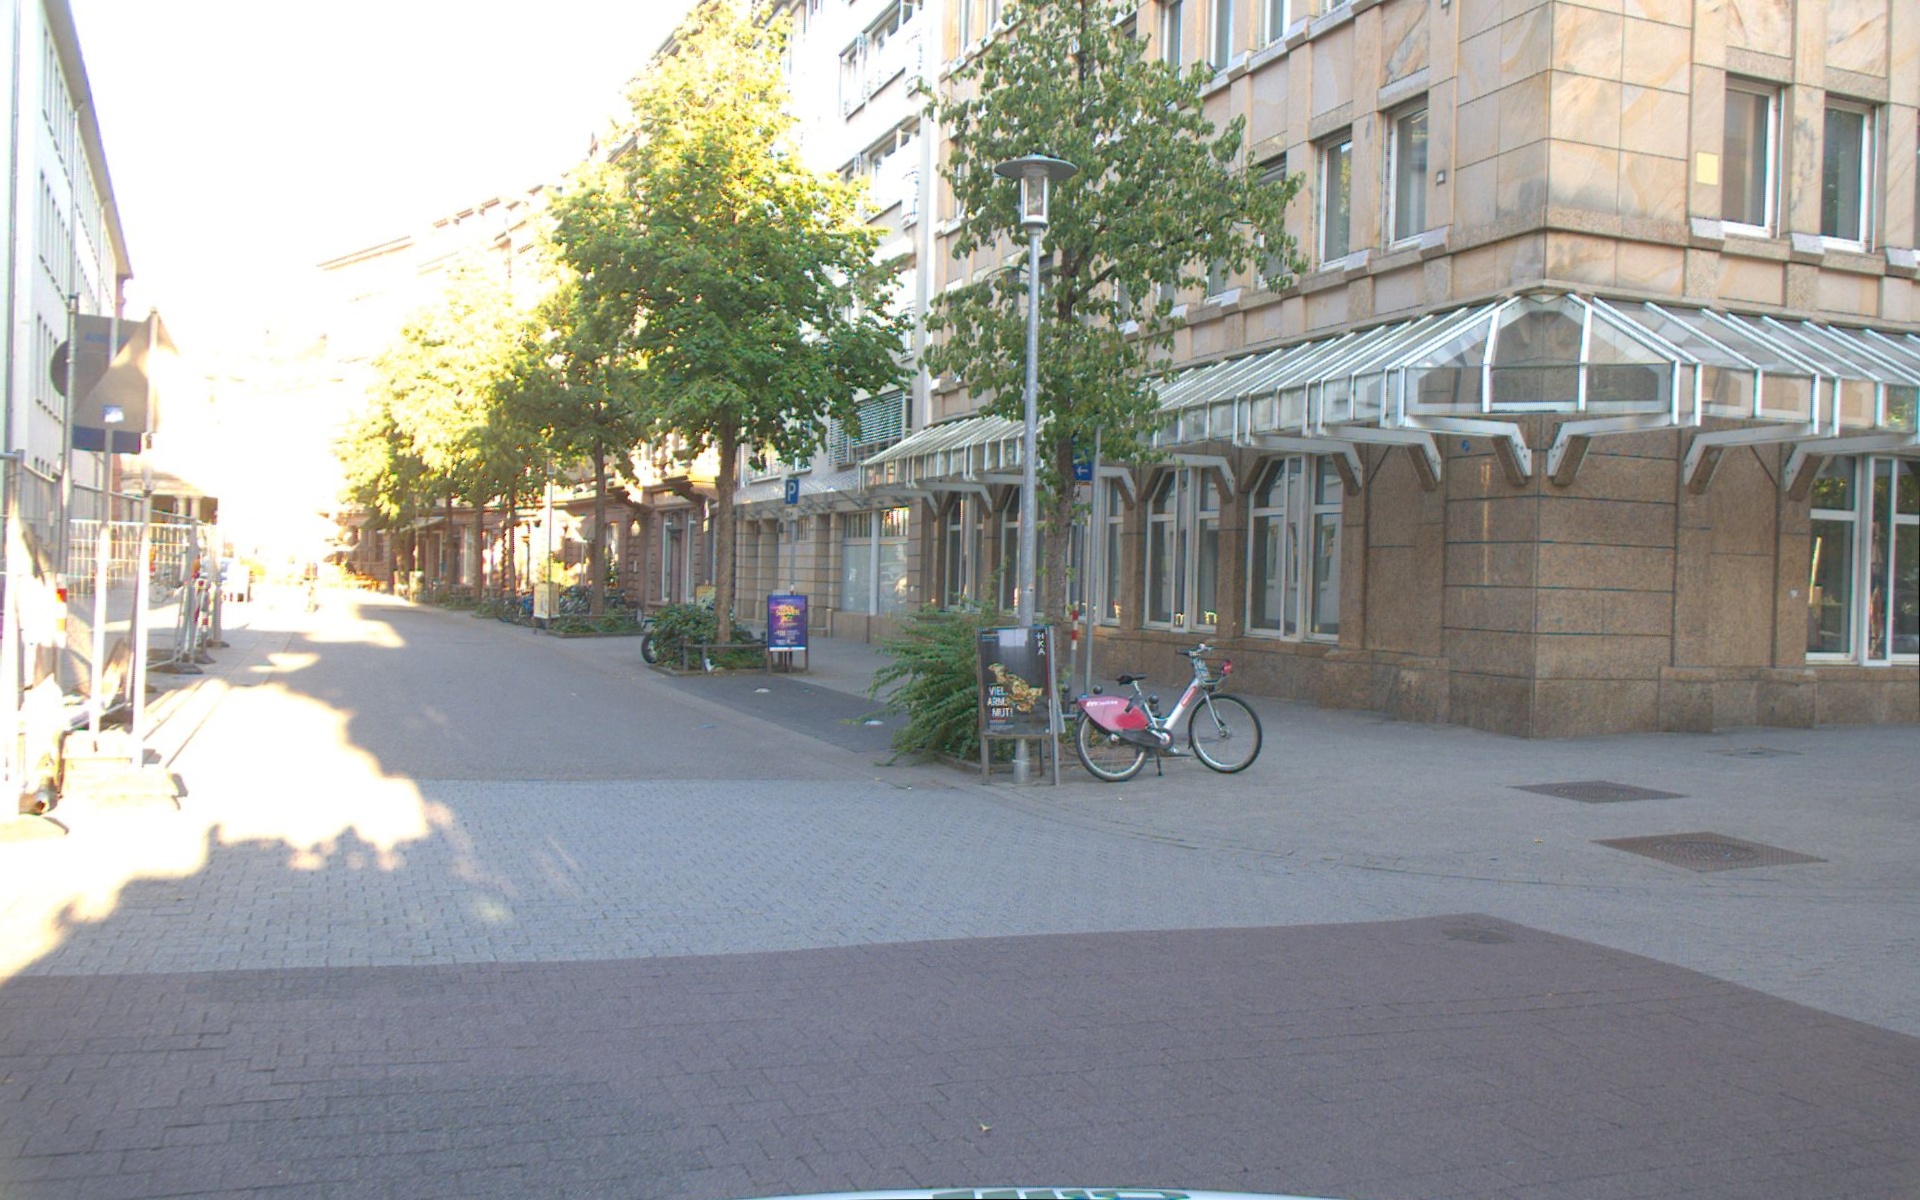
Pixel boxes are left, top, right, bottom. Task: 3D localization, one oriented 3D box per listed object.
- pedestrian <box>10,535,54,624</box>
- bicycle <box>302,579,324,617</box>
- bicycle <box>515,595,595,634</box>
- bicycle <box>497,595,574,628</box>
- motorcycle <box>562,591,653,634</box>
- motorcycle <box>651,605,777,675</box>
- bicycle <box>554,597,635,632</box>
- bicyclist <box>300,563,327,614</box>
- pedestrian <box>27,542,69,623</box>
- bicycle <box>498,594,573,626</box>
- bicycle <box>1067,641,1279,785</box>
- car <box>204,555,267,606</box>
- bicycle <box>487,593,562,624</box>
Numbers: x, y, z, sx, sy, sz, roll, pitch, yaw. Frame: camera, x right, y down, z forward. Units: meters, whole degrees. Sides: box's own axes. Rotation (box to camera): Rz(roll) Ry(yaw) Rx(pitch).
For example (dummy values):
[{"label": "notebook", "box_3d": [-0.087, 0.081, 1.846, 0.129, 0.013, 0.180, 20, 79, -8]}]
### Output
[{"label": "pedestrian", "box_3d": [-19.030, -0.411, 33.933, 0.644, 1.794, 0.631, 1, 0, -18]}, {"label": "bicycle", "box_3d": [-19.649, -0.061, 50.220, 0.581, 1.114, 2.145, 1, 0, -23]}, {"label": "bicycle", "box_3d": [-11.438, 0.406, 46.736, 2.113, 1.079, 0.589, 1, 0, -9]}, {"label": "bicycle", "box_3d": [-12.528, 0.334, 48.830, 2.130, 0.942, 0.585, 1, 0, -30]}, {"label": "motorcycle", "box_3d": [-9.414, 0.339, 44.264, 0.581, 1.114, 2.461, 0, 0, 45]}, {"label": "motorcycle", "box_3d": [-4.266, 0.689, 28.742, 2.126, 1.171, 0.490, 1, 0, -26]}, {"label": "bicycle", "box_3d": [-9.986, 0.402, 45.272, 2.137, 0.942, 0.583, 1, 0, -38]}, {"label": "bicyclist", "box_3d": [-19.596, -0.352, 50.139, 0.712, 1.494, 0.712, 1, 1, -24]}, {"label": "pedestrian", "box_3d": [-19.043, -0.367, 34.544, 0.644, 1.680, 0.631, 1, 0, -18]}, {"label": "bicycle", "box_3d": [-12.770, 0.292, 49.774, 2.130, 0.942, 0.585, 1, 0, -30]}, {"label": "bicycle", "box_3d": [1.743, 0.917, 13.640, 1.623, 1.069, 0.662, -1, 2, -4]}, {"label": "car", "box_3d": [-25.679, -0.708, 58.544, 1.820, 1.713, 3.613, 1, 1, -27]}, {"label": "bicycle", "box_3d": [-13.295, 0.267, 50.536, 2.130, 0.942, 0.585, 1, 0, -30]}]
